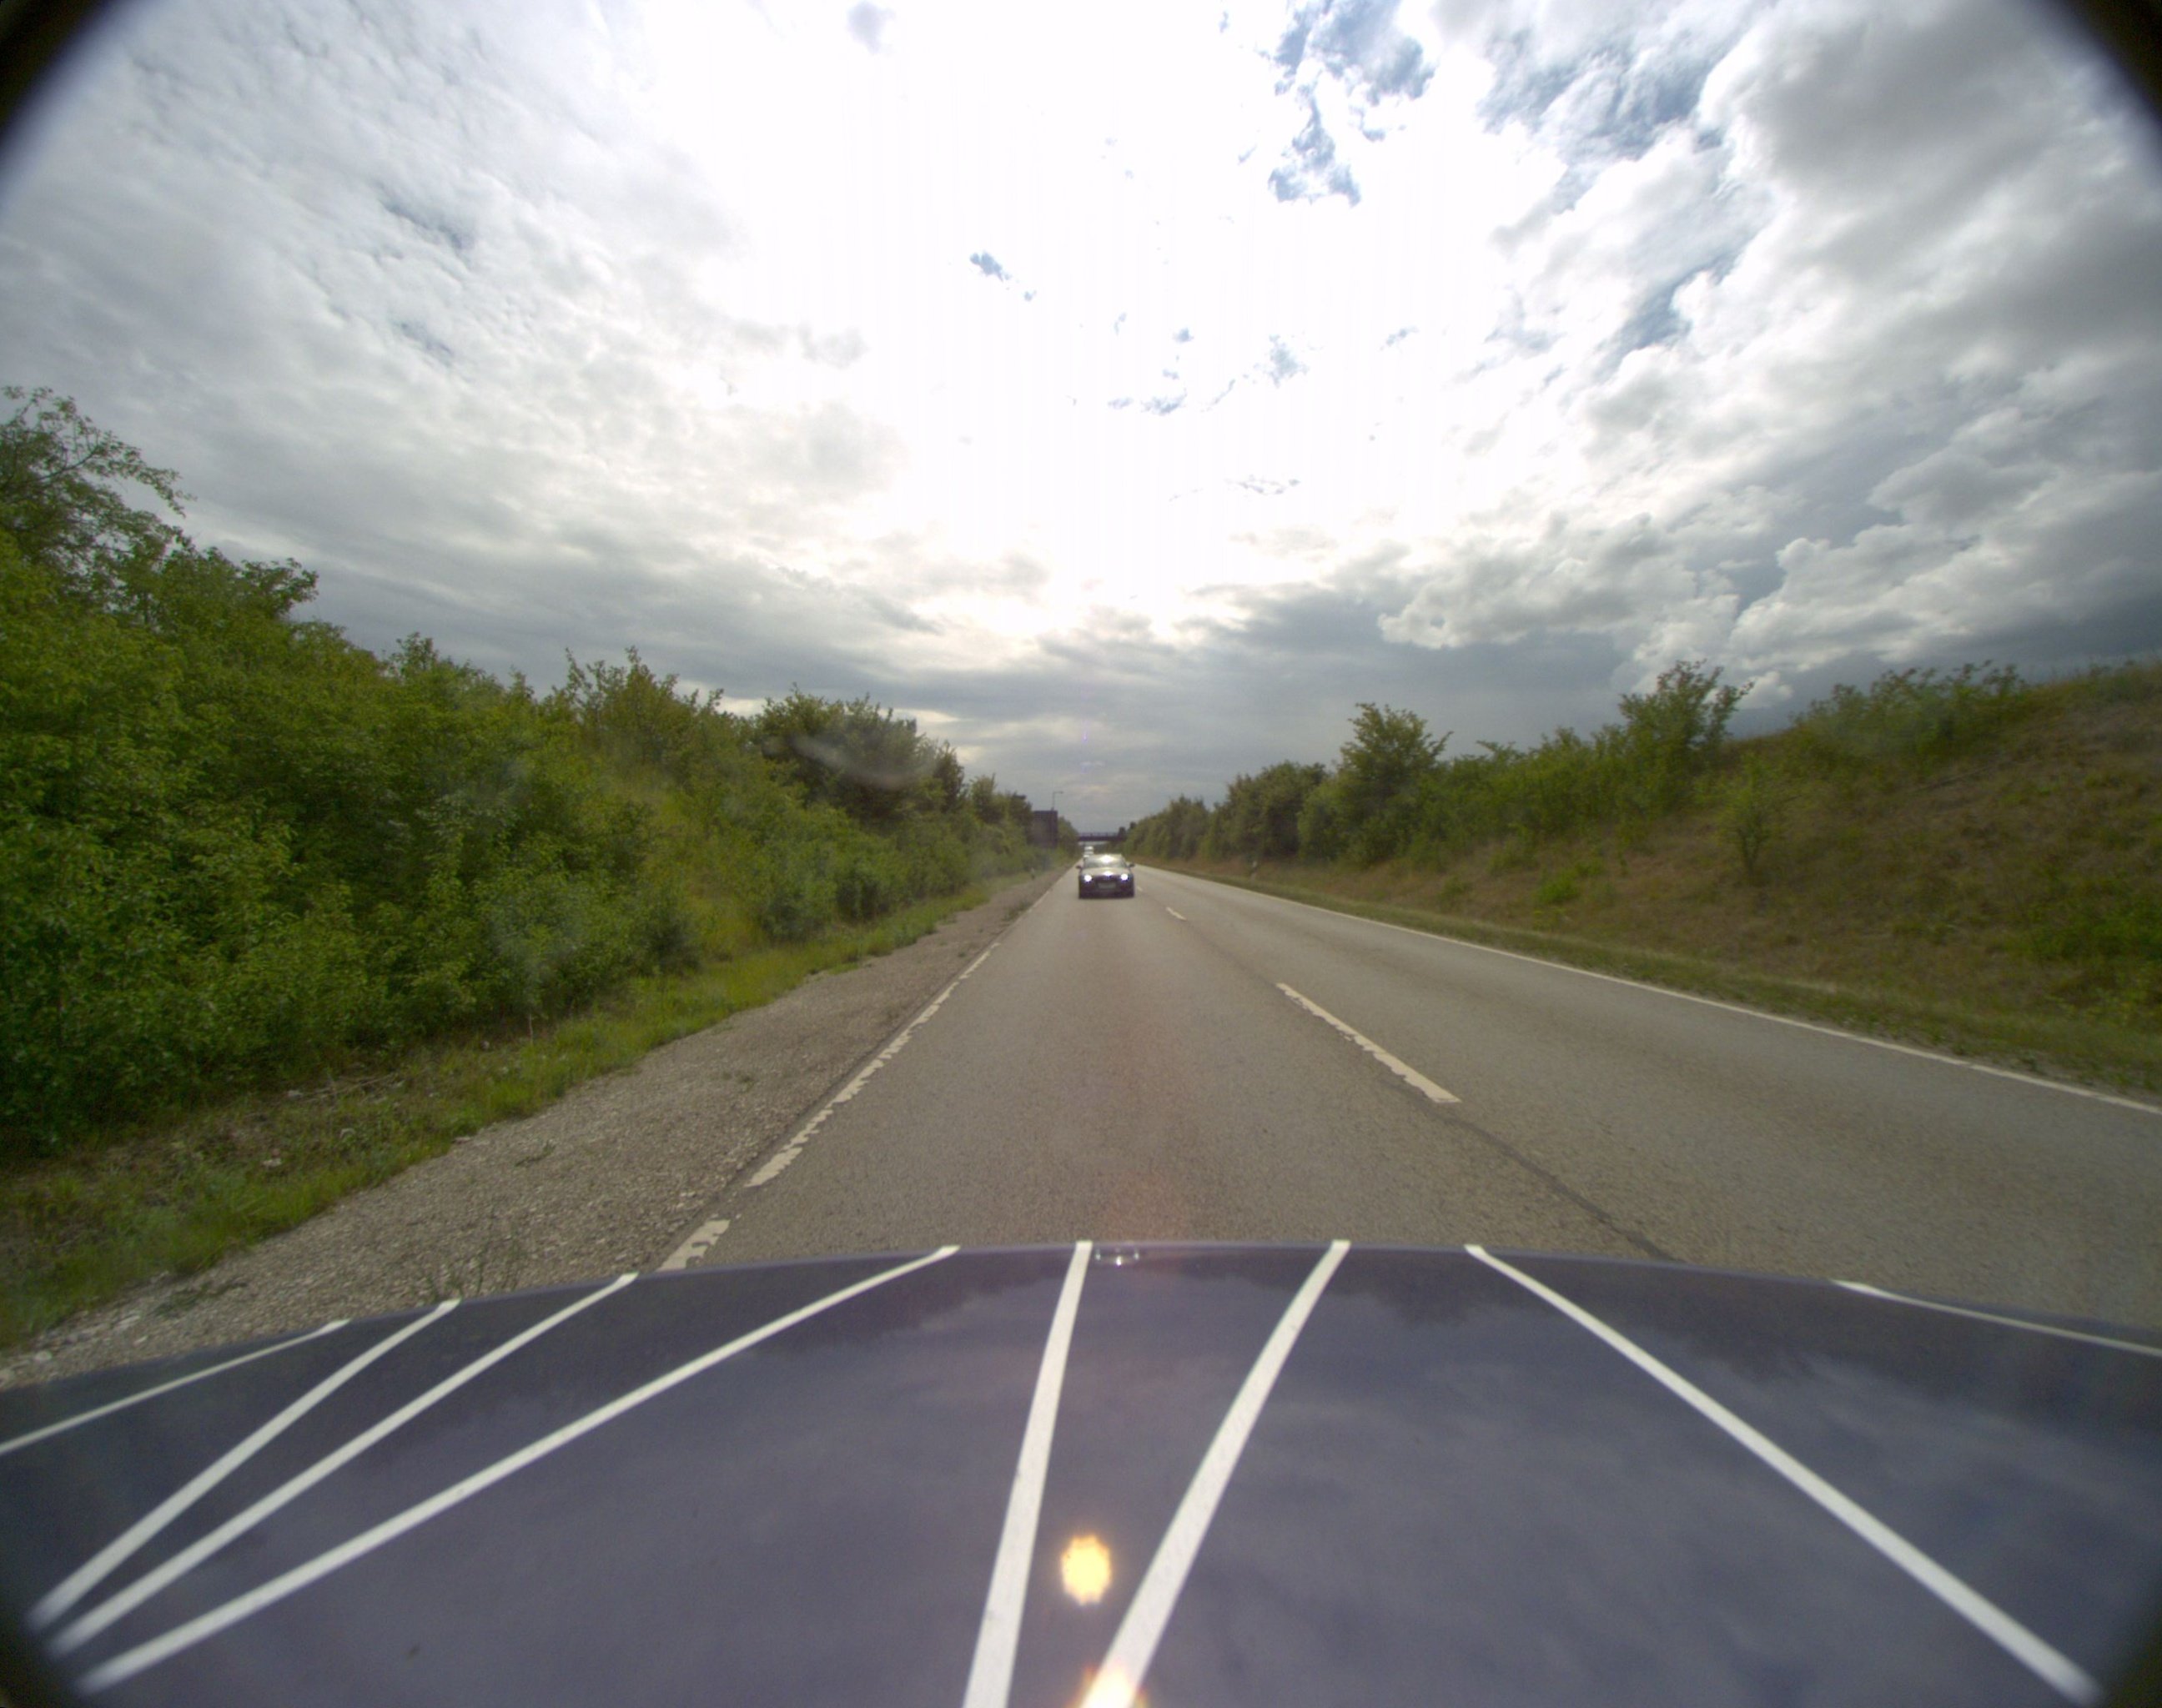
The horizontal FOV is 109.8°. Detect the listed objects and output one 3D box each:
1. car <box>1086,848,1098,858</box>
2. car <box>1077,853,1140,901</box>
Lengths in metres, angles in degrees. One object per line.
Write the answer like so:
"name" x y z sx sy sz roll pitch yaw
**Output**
"car" 1.749 -0.155 123.089 1.870 1.597 3.999 -1 1 0
"car" 0.903 0.733 26.776 1.998 1.436 4.640 -2 1 0
